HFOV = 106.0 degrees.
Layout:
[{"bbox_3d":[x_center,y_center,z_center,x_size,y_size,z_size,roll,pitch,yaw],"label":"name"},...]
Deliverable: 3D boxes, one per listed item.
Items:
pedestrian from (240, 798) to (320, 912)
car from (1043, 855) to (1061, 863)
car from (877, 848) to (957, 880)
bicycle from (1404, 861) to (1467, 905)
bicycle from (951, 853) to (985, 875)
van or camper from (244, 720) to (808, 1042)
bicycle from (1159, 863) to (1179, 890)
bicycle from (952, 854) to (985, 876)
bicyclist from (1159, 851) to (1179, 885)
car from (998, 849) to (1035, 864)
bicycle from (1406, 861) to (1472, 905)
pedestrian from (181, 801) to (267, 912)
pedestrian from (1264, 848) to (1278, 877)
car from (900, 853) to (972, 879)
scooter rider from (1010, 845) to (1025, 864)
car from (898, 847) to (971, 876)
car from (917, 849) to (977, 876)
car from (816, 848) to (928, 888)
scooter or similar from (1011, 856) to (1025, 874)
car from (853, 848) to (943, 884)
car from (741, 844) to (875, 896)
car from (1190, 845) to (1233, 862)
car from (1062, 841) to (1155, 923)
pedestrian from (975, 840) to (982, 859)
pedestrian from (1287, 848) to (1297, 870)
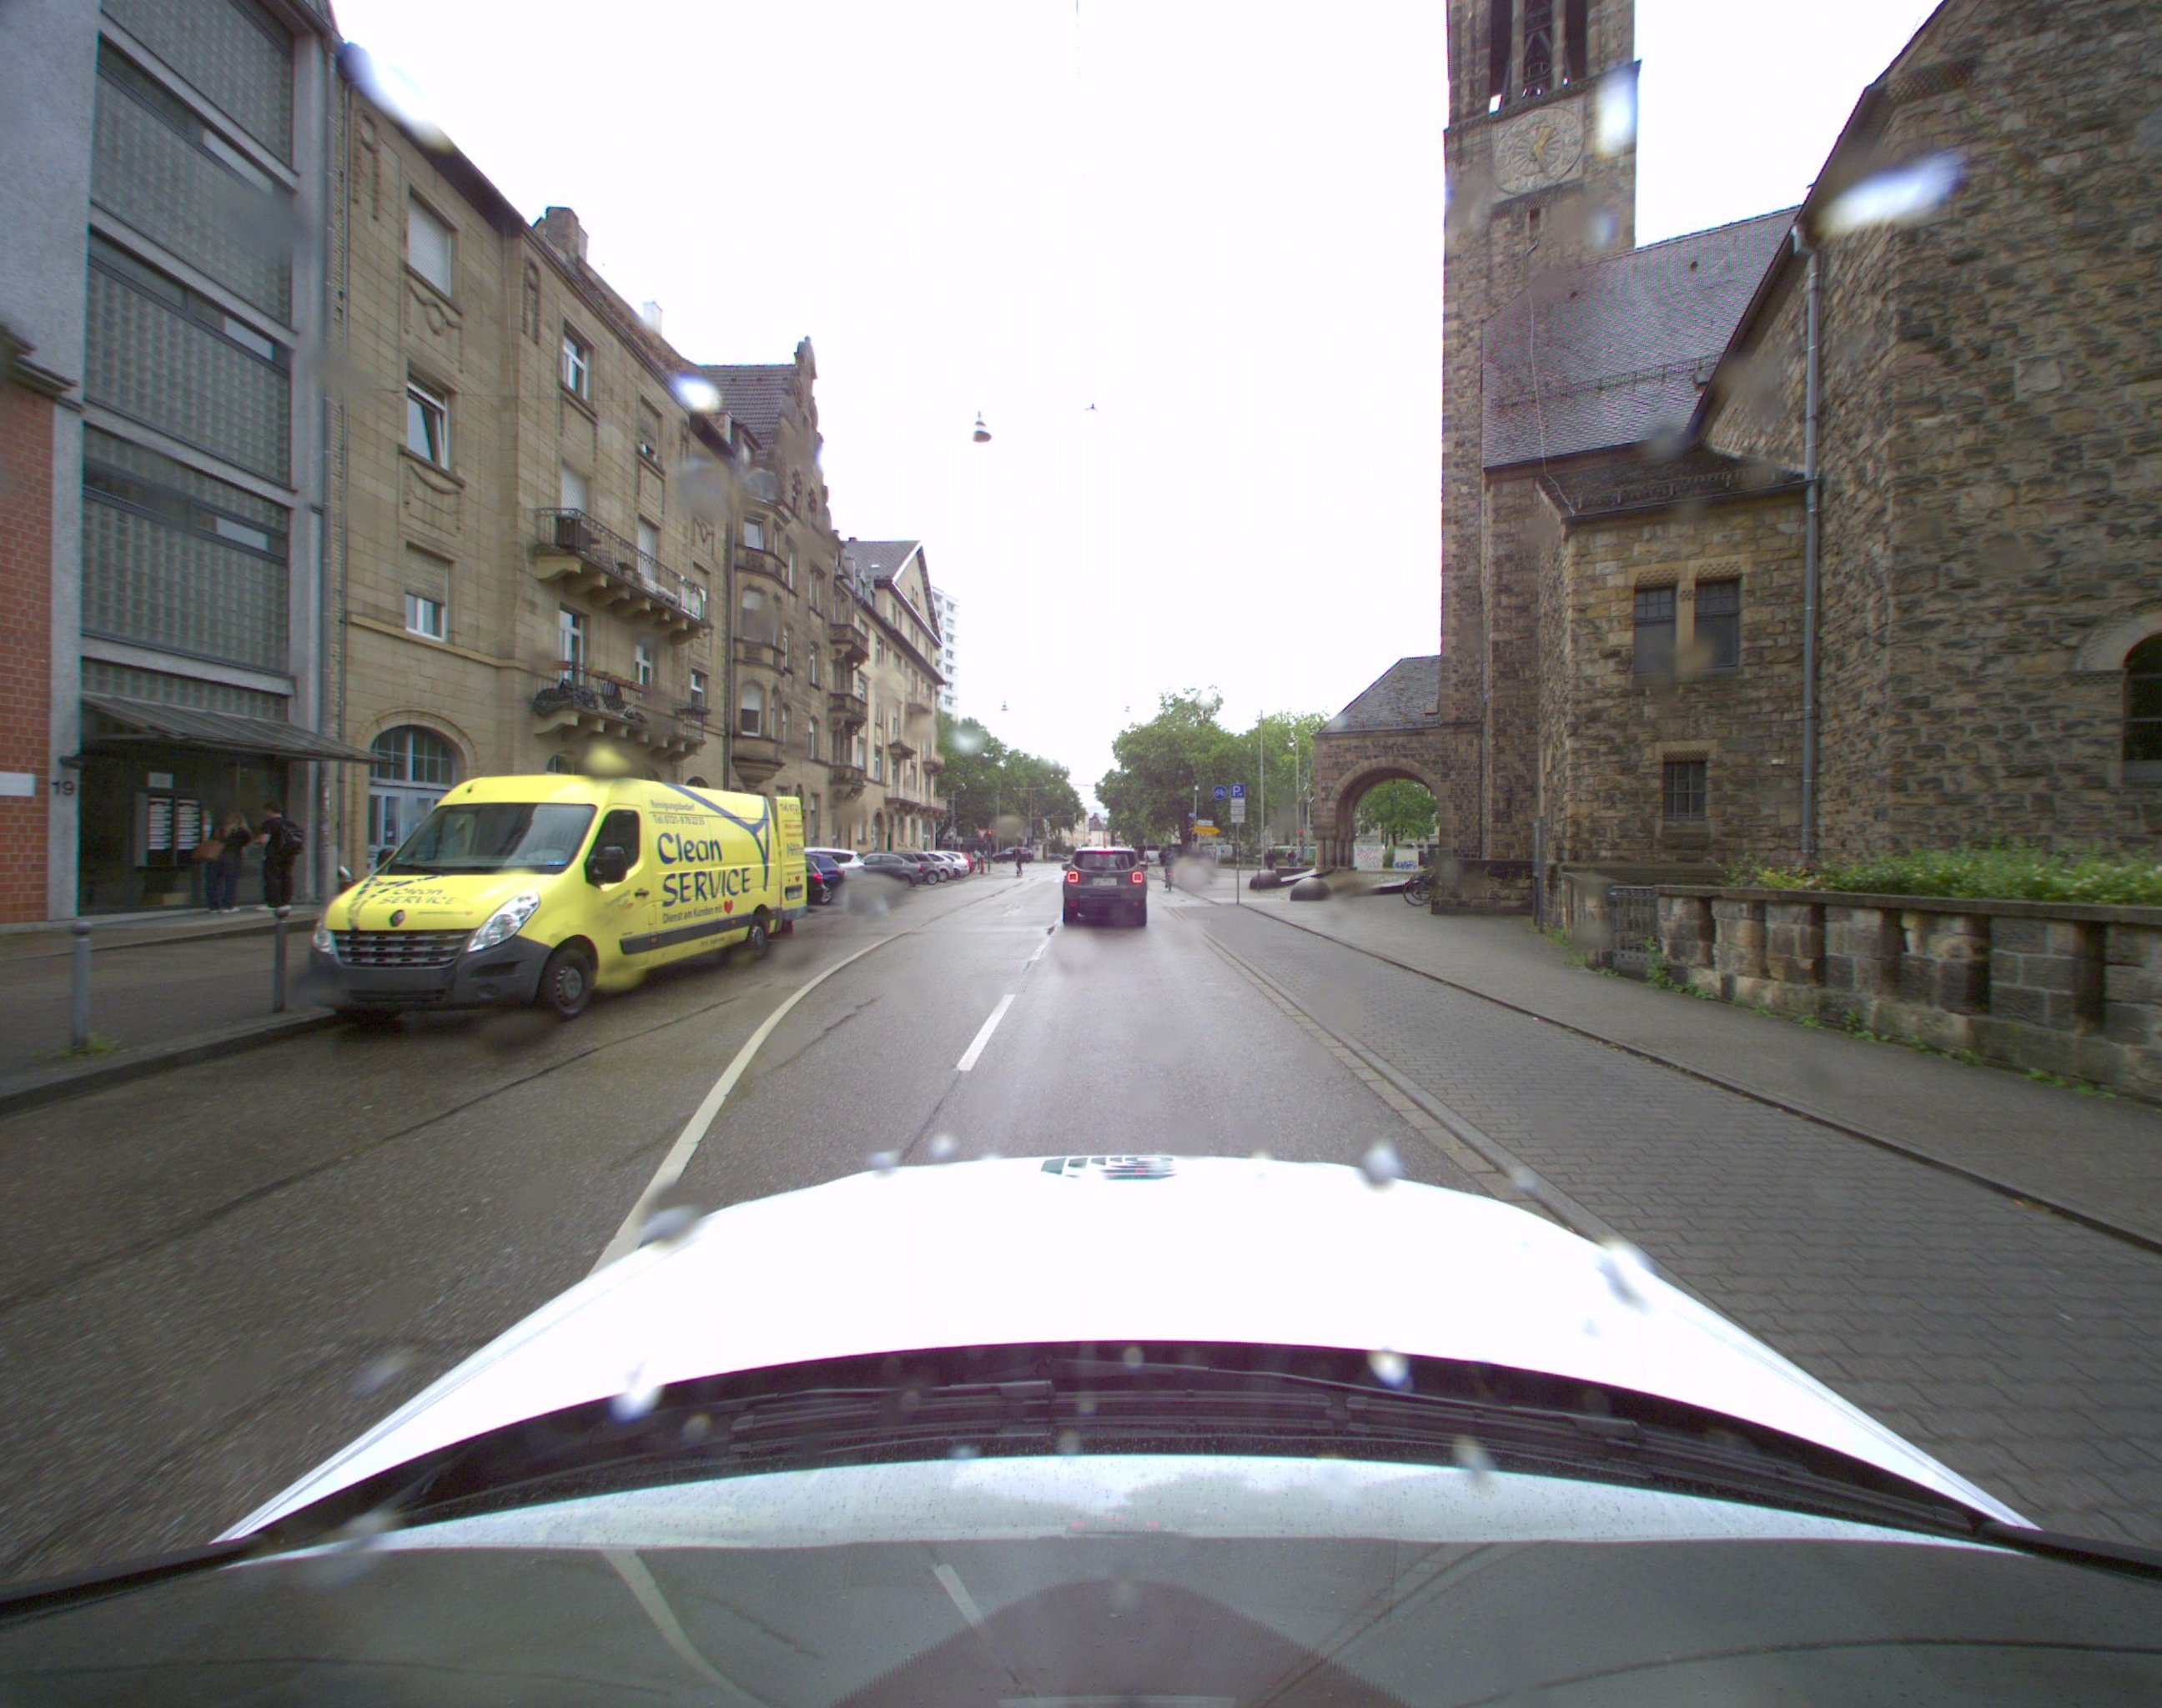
[{"bbox_3d":[-12.853,0.010,13.092,0.663,1.757,0.791,0,0,-22],"label":"pedestrian"},{"bbox_3d":[-6.244,1.087,174.749,3.446,1.501,1.547,-1,0,12],"label":"car"},{"bbox_3d":[-8.310,0.516,41.270,3.519,1.518,1.866,2,-1,-32],"label":"car"},{"bbox_3d":[9.132,0.739,21.008,1.474,1.102,0.365,0,0,22],"label":"bicycle"},{"bbox_3d":[-7.456,0.672,53.794,2.116,1.444,0.536,0,0,-19],"label":"bicycle"},{"bbox_3d":[-5.727,0.327,10.122,2.114,2.531,6.875,-3,-2,1],"label":"van or camper"},{"bbox_3d":[3.671,0.934,34.050,0.702,1.054,1.813,0,0,2],"label":"bicycle"},{"bbox_3d":[-7.571,0.706,54.788,2.099,1.444,0.487,0,0,-19],"label":"bicycle"},{"bbox_3d":[3.671,0.573,34.049,0.702,1.403,1.171,0,0,2],"label":"bicyclist"},{"bbox_3d":[-7.381,0.302,92.681,3.846,1.611,1.550,-1,0,21],"label":"car"},{"bbox_3d":[9.039,0.724,20.600,1.509,1.102,0.365,0,0,22],"label":"bicycle"},{"bbox_3d":[-13.476,0.037,12.833,0.663,1.675,0.791,0,0,-22],"label":"pedestrian"},{"bbox_3d":[11.486,0.527,49.279,0.688,1.711,0.684,0,0,1],"label":"pedestrian"},{"bbox_3d":[-7.885,0.653,44.333,3.436,1.316,1.761,2,-1,-32],"label":"car"},{"bbox_3d":[-4.246,0.019,54.825,0.877,1.220,0.984,0,-2,1],"label":"scooter rider"},{"bbox_3d":[-8.424,0.440,46.920,3.754,1.558,1.655,2,-1,-32],"label":"car"},{"bbox_3d":[-8.250,0.505,50.205,3.267,1.558,1.520,2,-1,-32],"label":"car"},{"bbox_3d":[-8.265,0.572,32.396,3.873,1.479,1.864,2,-1,-40],"label":"car"},{"bbox_3d":[-4.248,0.766,54.805,0.848,1.212,0.986,0,-2,1],"label":"scooter or similar"},{"bbox_3d":[-8.525,0.558,38.042,3.680,1.558,1.789,2,-1,-35],"label":"car"},{"bbox_3d":[-8.657,0.516,25.920,3.680,1.558,1.780,2,-1,-35],"label":"car"},{"bbox_3d":[18.543,-0.131,115.652,5.876,2.334,2.062,0,0,4],"label":"car"},{"bbox_3d":[0.579,0.572,18.814,1.892,1.671,4.505,0,0,0],"label":"car"},{"bbox_3d":[-8.269,-0.360,65.818,0.466,1.585,0.752,0,0,0],"label":"pedestrian"},{"bbox_3d":[16.423,0.408,63.510,0.676,1.711,0.696,-1,0,20],"label":"pedestrian"}]
